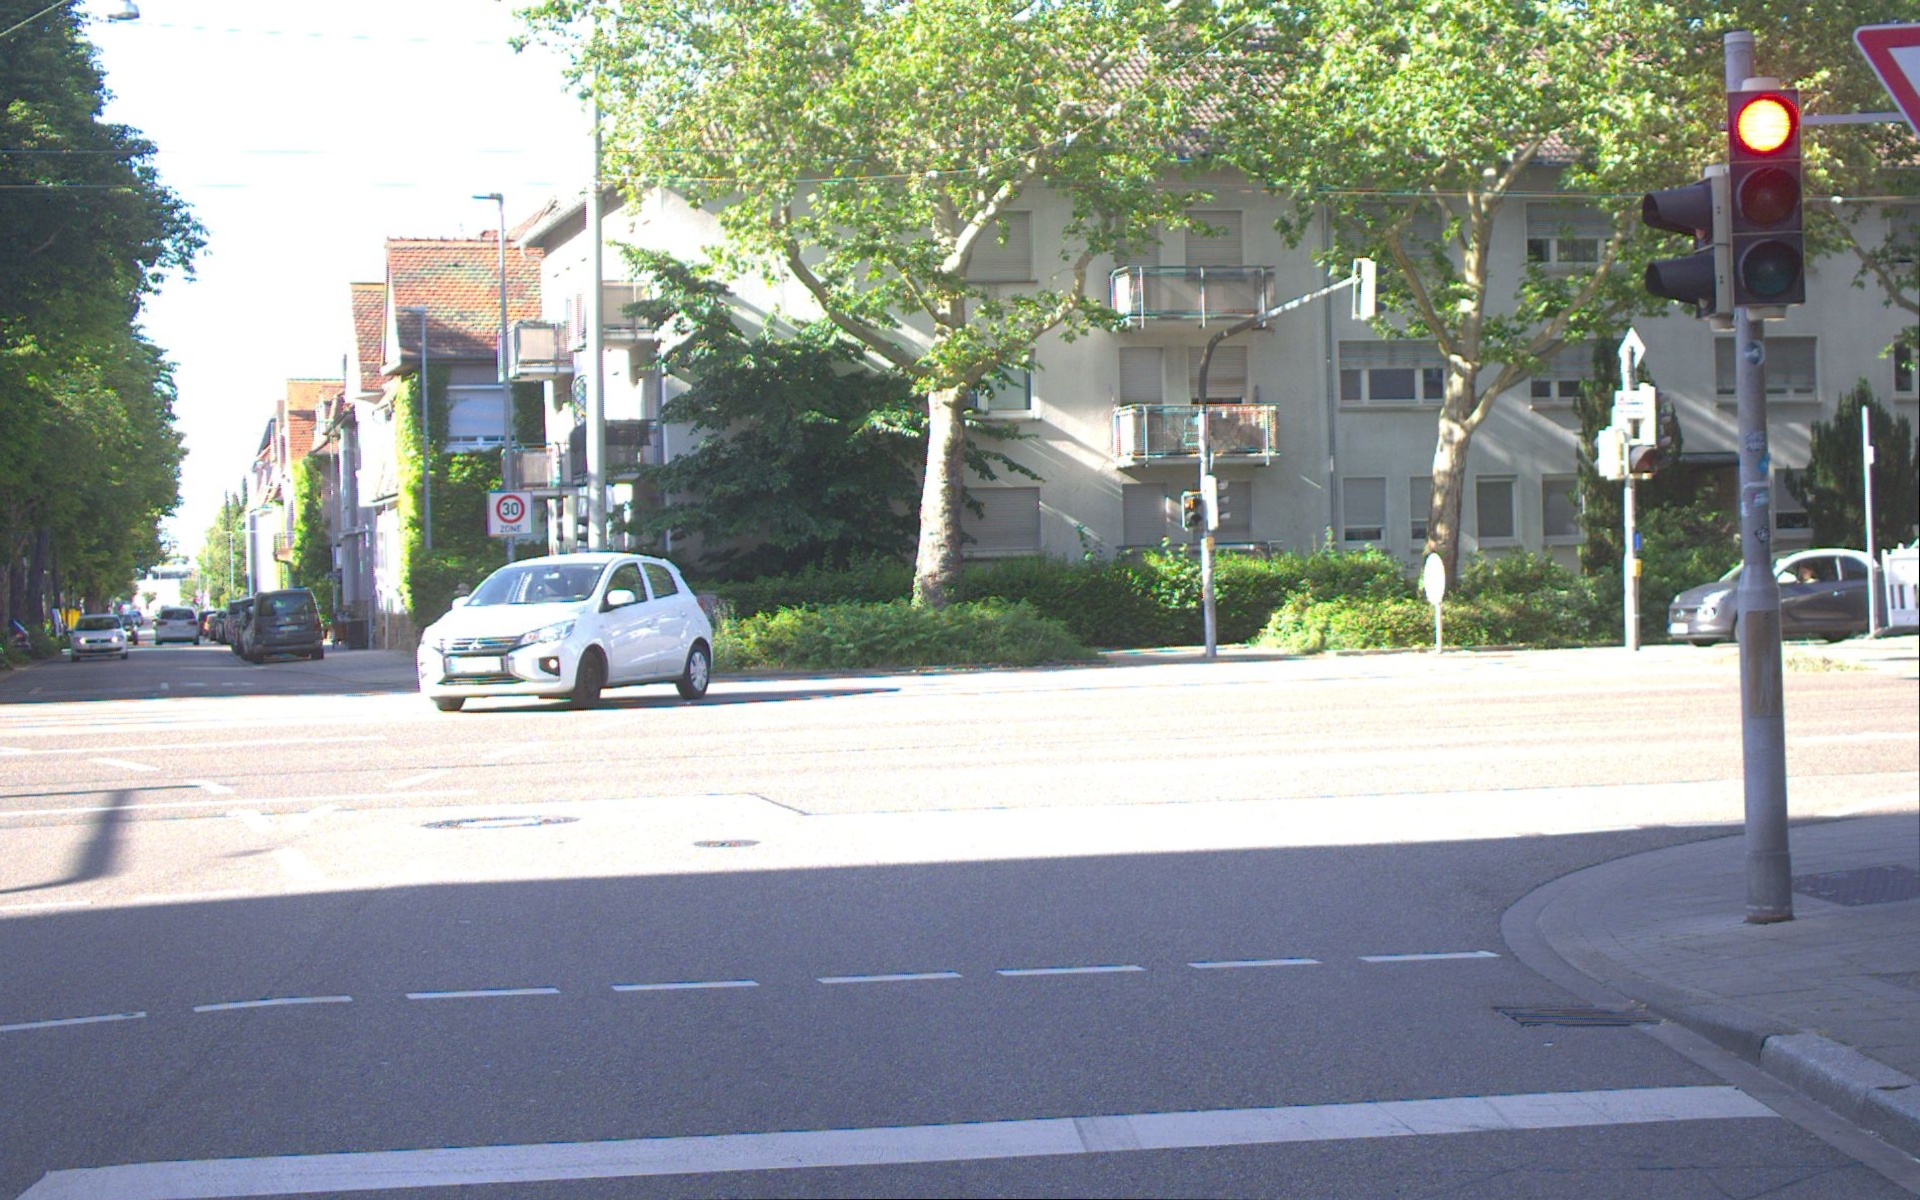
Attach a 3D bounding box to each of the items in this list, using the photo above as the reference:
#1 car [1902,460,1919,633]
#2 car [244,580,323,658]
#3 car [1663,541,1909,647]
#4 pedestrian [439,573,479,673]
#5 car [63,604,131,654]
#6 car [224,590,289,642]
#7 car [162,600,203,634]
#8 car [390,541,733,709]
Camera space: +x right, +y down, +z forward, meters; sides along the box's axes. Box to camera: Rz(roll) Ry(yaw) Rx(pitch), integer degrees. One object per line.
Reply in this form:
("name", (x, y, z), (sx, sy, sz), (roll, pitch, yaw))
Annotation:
("car", (17.251, -0.886, 51.193), (6.039, 2.559, 2.001), (-2, 1, -18))
("car", (-18.623, 0.511, 94.706), (1.993, 2.007, 4.001), (-2, 1, -10))
("car", (12.699, -0.105, 52.882), (3.379, 1.482, 1.525), (-2, 1, -22))
("pedestrian", (-8.770, 0.398, 60.243), (0.633, 1.744, 0.659), (-1, 0, -4))
("car", (-27.181, 0.902, 108.250), (1.993, 1.441, 4.001), (-2, 1, -15))
("car", (-25.658, 0.573, 125.320), (1.993, 1.826, 4.001), (-1, 0, -16))
("car", (-33.652, 0.728, 148.773), (1.673, 1.477, 3.523), (-1, 0, -14))
("car", (-3.826, 0.209, 33.589), (1.626, 1.467, 3.795), (-2, 1, 23))
